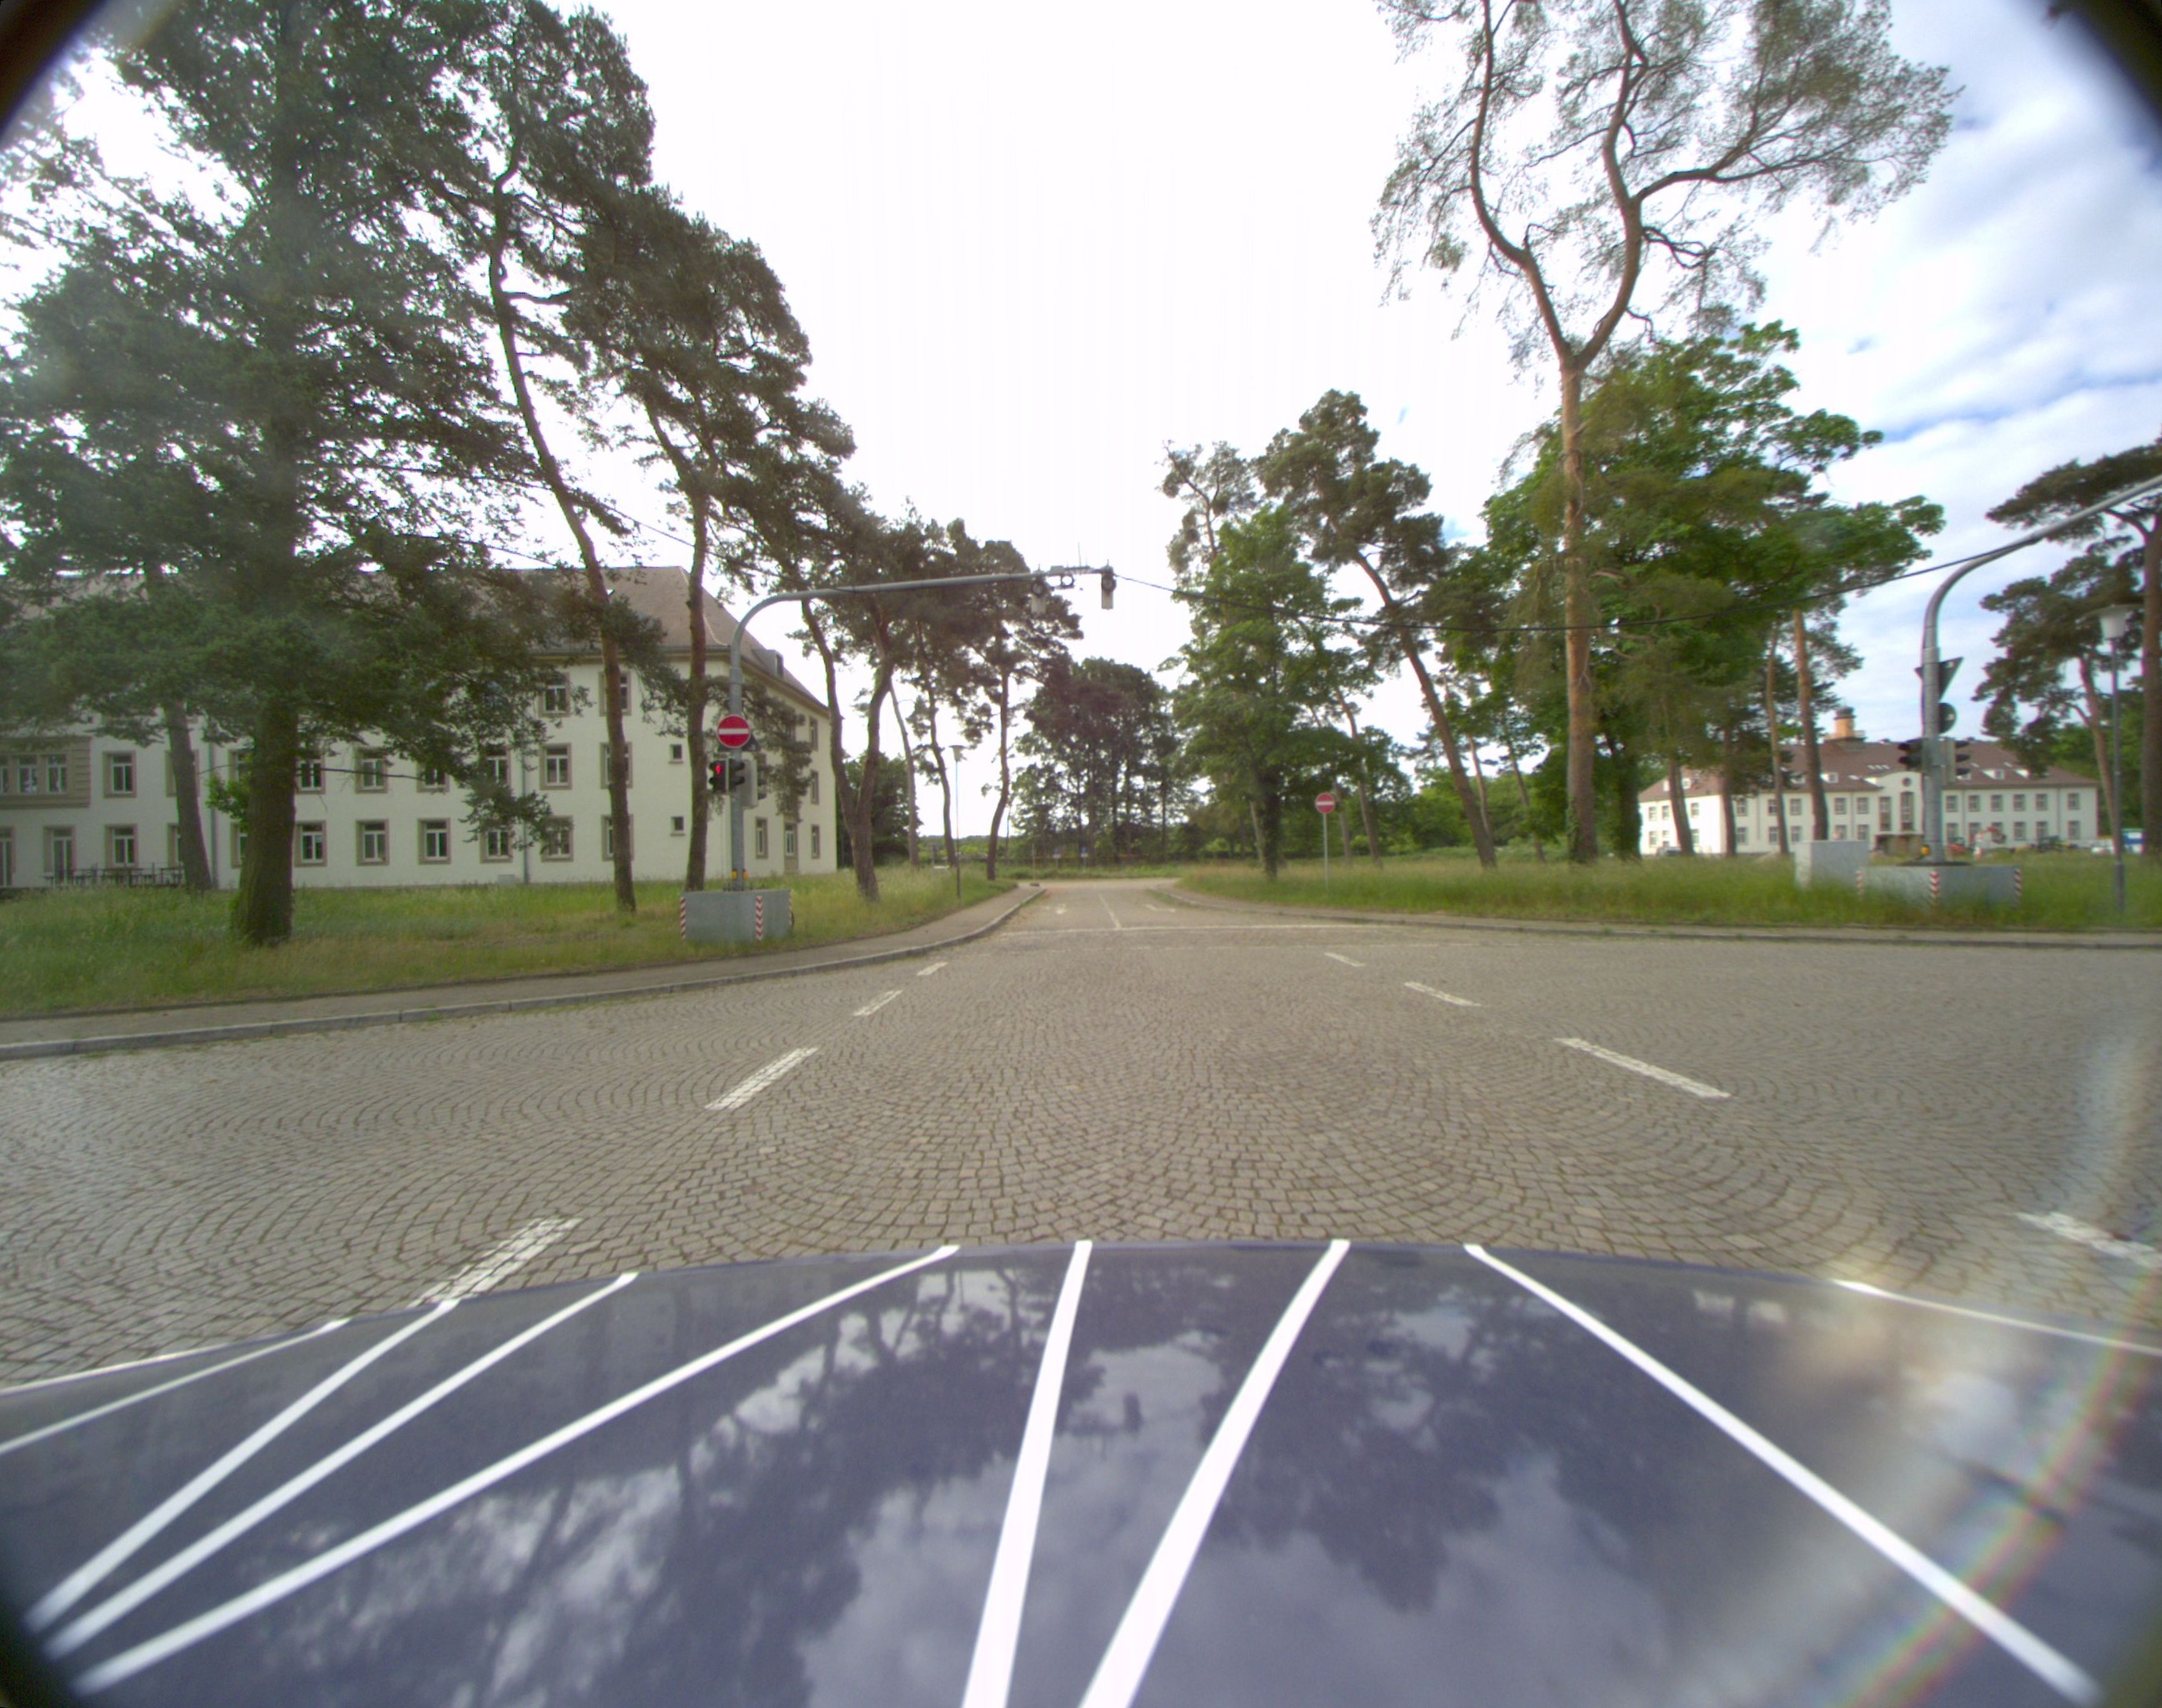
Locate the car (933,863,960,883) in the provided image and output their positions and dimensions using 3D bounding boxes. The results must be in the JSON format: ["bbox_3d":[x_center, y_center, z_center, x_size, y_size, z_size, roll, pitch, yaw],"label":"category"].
[{"bbox_3d":[-11.471,1.596,64.849,1.641,1.426,3.277,-1,2,0],"label":"car"}]
